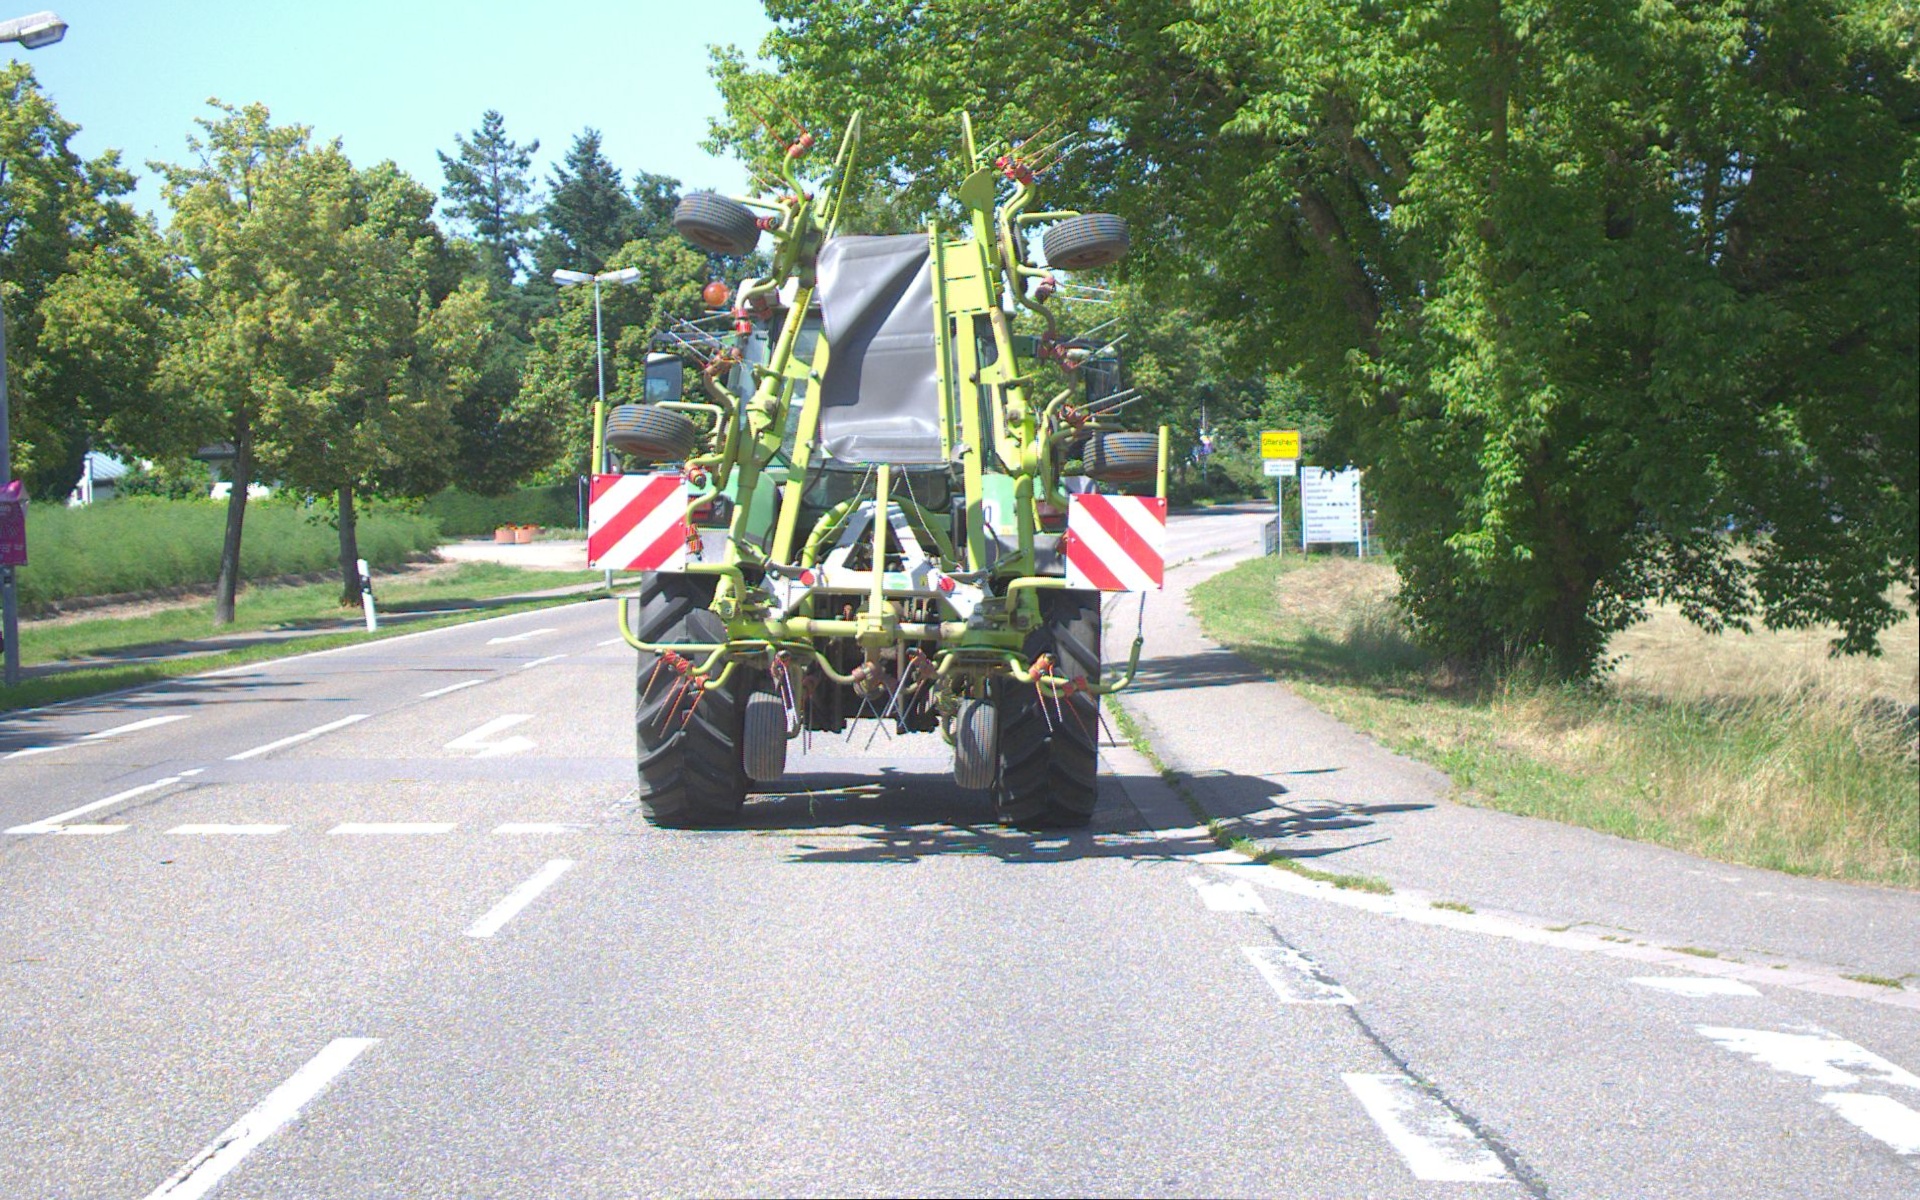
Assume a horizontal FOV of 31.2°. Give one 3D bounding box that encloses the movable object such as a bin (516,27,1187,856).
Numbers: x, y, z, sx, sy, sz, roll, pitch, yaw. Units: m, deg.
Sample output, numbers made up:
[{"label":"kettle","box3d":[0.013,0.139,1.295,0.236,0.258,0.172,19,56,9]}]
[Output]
[{"label":"movable object such as a bin","box3d":[-0.567,-0.798,19.549,2.852,3.529,9.702,0,1,-1]}]
